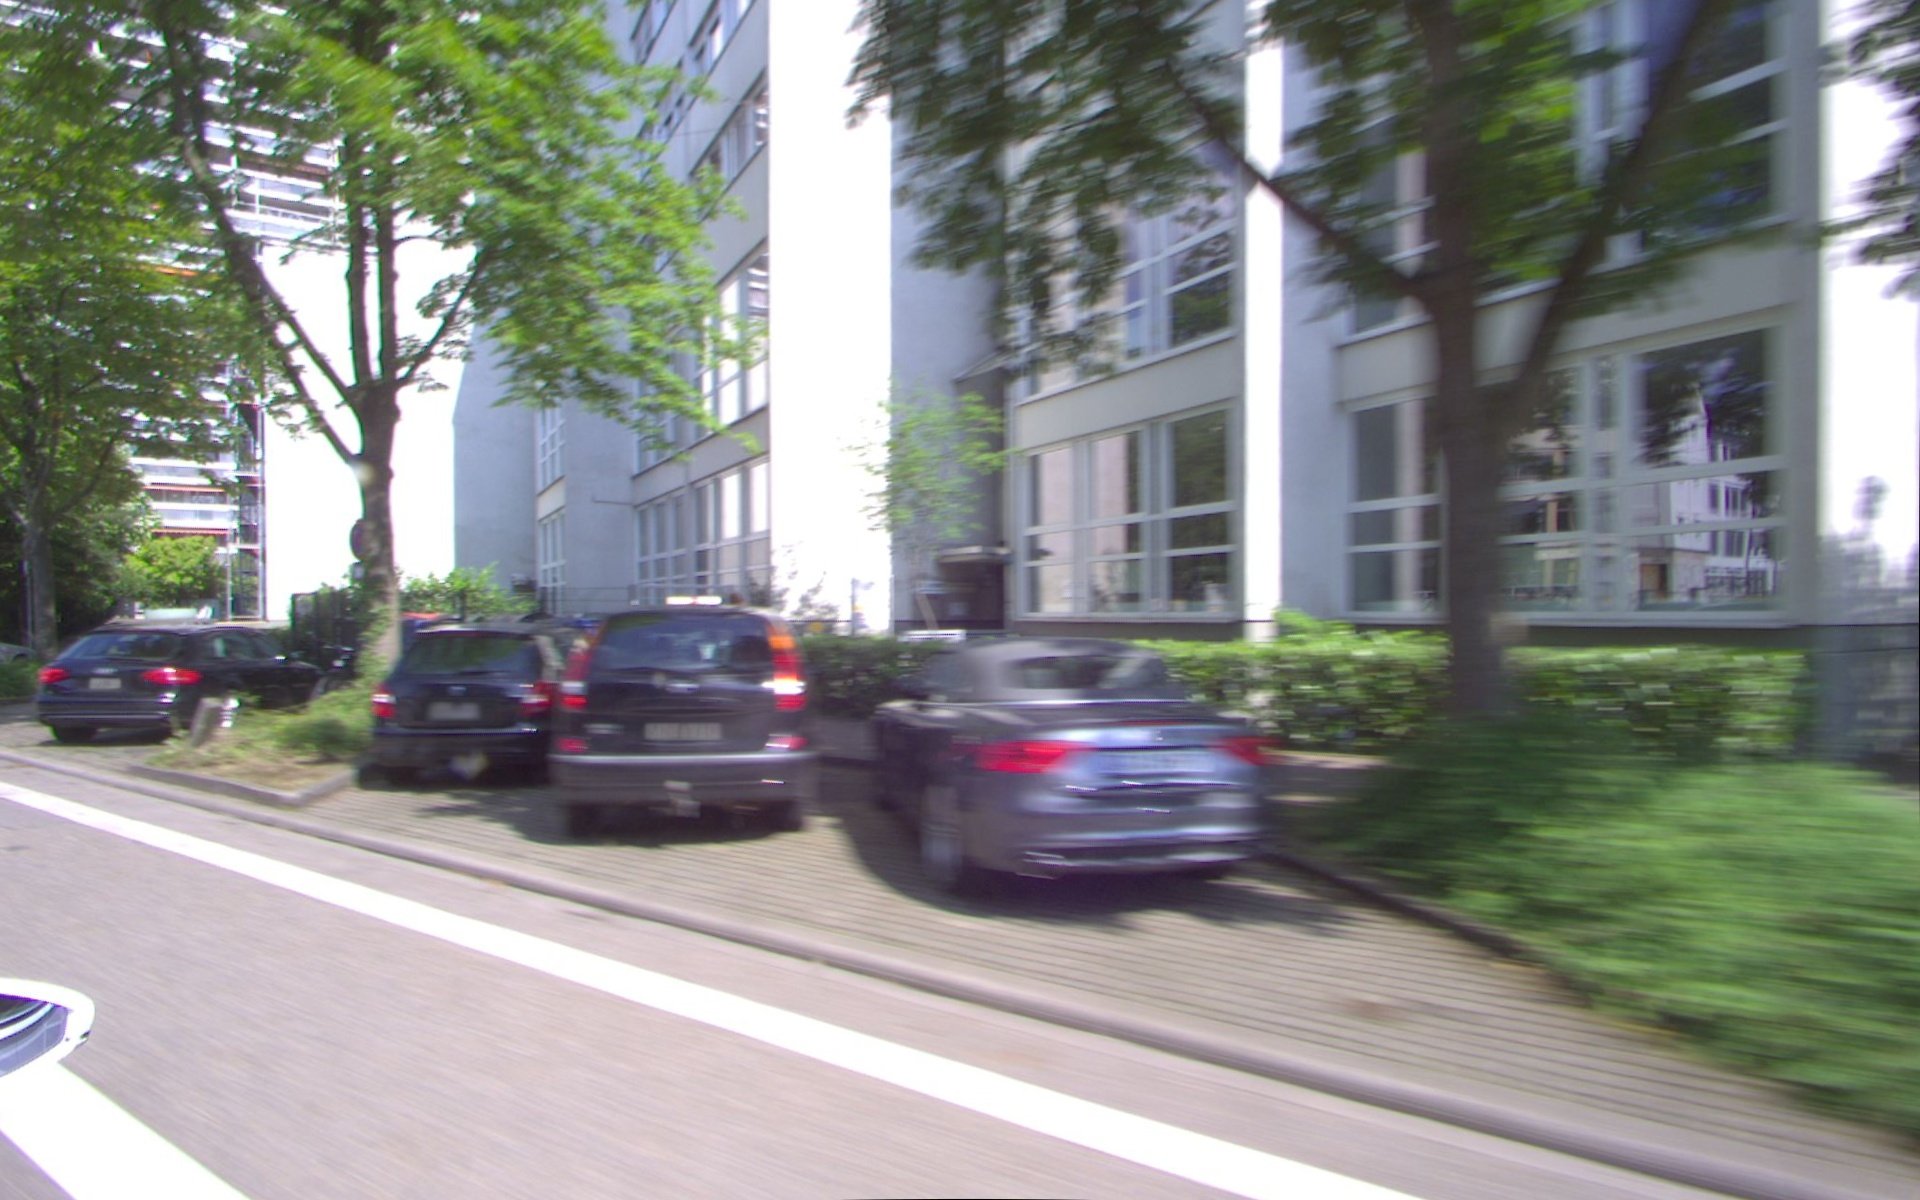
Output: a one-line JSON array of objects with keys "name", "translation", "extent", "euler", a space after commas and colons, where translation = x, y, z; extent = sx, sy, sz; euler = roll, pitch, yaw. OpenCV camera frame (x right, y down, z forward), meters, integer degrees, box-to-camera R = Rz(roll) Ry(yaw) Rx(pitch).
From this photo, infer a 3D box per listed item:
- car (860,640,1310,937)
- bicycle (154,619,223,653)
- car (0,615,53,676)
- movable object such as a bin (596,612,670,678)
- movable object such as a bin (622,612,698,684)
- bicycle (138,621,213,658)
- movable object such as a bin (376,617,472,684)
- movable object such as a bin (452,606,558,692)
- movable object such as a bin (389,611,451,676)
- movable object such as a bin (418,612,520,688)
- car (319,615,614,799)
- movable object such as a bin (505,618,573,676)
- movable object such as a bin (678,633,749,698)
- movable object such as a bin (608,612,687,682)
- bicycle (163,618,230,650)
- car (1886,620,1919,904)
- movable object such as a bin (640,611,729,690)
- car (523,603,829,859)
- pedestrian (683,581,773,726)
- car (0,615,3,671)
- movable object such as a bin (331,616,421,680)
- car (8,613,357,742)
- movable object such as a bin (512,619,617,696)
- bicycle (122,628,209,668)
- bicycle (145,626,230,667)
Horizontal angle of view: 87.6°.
[{"name": "car", "translation": [0.462, 0.996, 7.004], "extent": [1.870, 1.366, 4.173], "euler": [1, -2, -12]}, {"name": "bicycle", "translation": [-26.359, 1.224, 34.219], "extent": [1.804, 1.110, 0.449], "euler": [1, 1, -27]}, {"name": "car", "translation": [-23.653, 1.067, 23.161], "extent": [1.690, 1.438, 4.243], "euler": [1, -1, -5]}, {"name": "movable object such as a bin", "translation": [-7.866, 1.056, 24.070], "extent": [1.362, 1.467, 1.254], "euler": [-2, 2, -36]}, {"name": "movable object such as a bin", "translation": [-6.418, 1.007, 21.384], "extent": [1.194, 1.475, 1.444], "euler": [1, -2, -34]}, {"name": "bicycle", "translation": [-25.200, 1.247, 32.207], "extent": [1.804, 1.111, 0.449], "euler": [-1, 4, -27]}, {"name": "movable object such as a bin", "translation": [-11.341, 1.063, 21.217], "extent": [1.339, 1.353, 1.273], "euler": [0, -2, 31]}, {"name": "movable object such as a bin", "translation": [-8.678, 0.913, 19.125], "extent": [1.449, 1.559, 1.272], "euler": [-1, -1, 33]}, {"name": "movable object such as a bin", "translation": [-12.871, 1.029, 23.862], "extent": [1.250, 1.500, 0.932], "euler": [2, 0, -30]}, {"name": "movable object such as a bin", "translation": [-9.981, 1.009, 20.393], "extent": [1.330, 1.455, 1.276], "euler": [1, -2, 26]}, {"name": "car", "translation": [-4.781, 0.941, 10.352], "extent": [1.694, 1.462, 4.072], "euler": [2, -1, -11]}, {"name": "movable object such as a bin", "translation": [-10.584, 1.156, 25.159], "extent": [1.201, 1.356, 1.252], "euler": [-2, 2, -42]}, {"name": "movable object such as a bin", "translation": [-4.657, 1.210, 18.913], "extent": [1.020, 1.105, 0.924], "euler": [-3, 2, -32]}, {"name": "movable object such as a bin", "translation": [-7.093, 1.032, 22.713], "extent": [1.362, 1.467, 1.254], "euler": [-2, 2, -36]}, {"name": "bicycle", "translation": [-26.885, 1.188, 35.284], "extent": [1.804, 1.110, 0.449], "euler": [0, 1, -27]}, {"name": "car", "translation": [6.140, 0.819, 3.596], "extent": [1.507, 1.480, 3.996], "euler": [0, -1, -12]}, {"name": "movable object such as a bin", "translation": [-5.552, 0.979, 20.176], "extent": [1.362, 1.467, 1.254], "euler": [-2, 2, -36]}, {"name": "car", "translation": [-2.095, 0.898, 8.377], "extent": [1.869, 1.594, 3.999], "euler": [1, -2, -9]}, {"name": "pedestrian", "translation": [-3.171, 0.706, 13.703], "extent": [0.990, 1.898, 0.758], "euler": [0, 0, 39]}, {"name": "car", "translation": [-26.221, 1.091, 24.838], "extent": [1.621, 1.493, 3.804], "euler": [2, -2, -8]}, {"name": "movable object such as a bin", "translation": [-12.805, 1.051, 21.969], "extent": [1.218, 1.353, 1.273], "euler": [0, -2, 31]}, {"name": "car", "translation": [-10.277, 0.983, 13.782], "extent": [1.994, 1.460, 4.534], "euler": [1, -2, -12]}, {"name": "movable object such as a bin", "translation": [-7.222, 1.030, 18.327], "extent": [1.307, 1.335, 1.272], "euler": [-1, -1, 33]}, {"name": "bicycle", "translation": [-22.548, 1.354, 28.451], "extent": [1.872, 1.067, 0.449], "euler": [-1, 1, -27]}, {"name": "bicycle", "translation": [-22.401, 1.327, 29.055], "extent": [1.872, 1.110, 0.449], "euler": [-1, 1, -27]}]
